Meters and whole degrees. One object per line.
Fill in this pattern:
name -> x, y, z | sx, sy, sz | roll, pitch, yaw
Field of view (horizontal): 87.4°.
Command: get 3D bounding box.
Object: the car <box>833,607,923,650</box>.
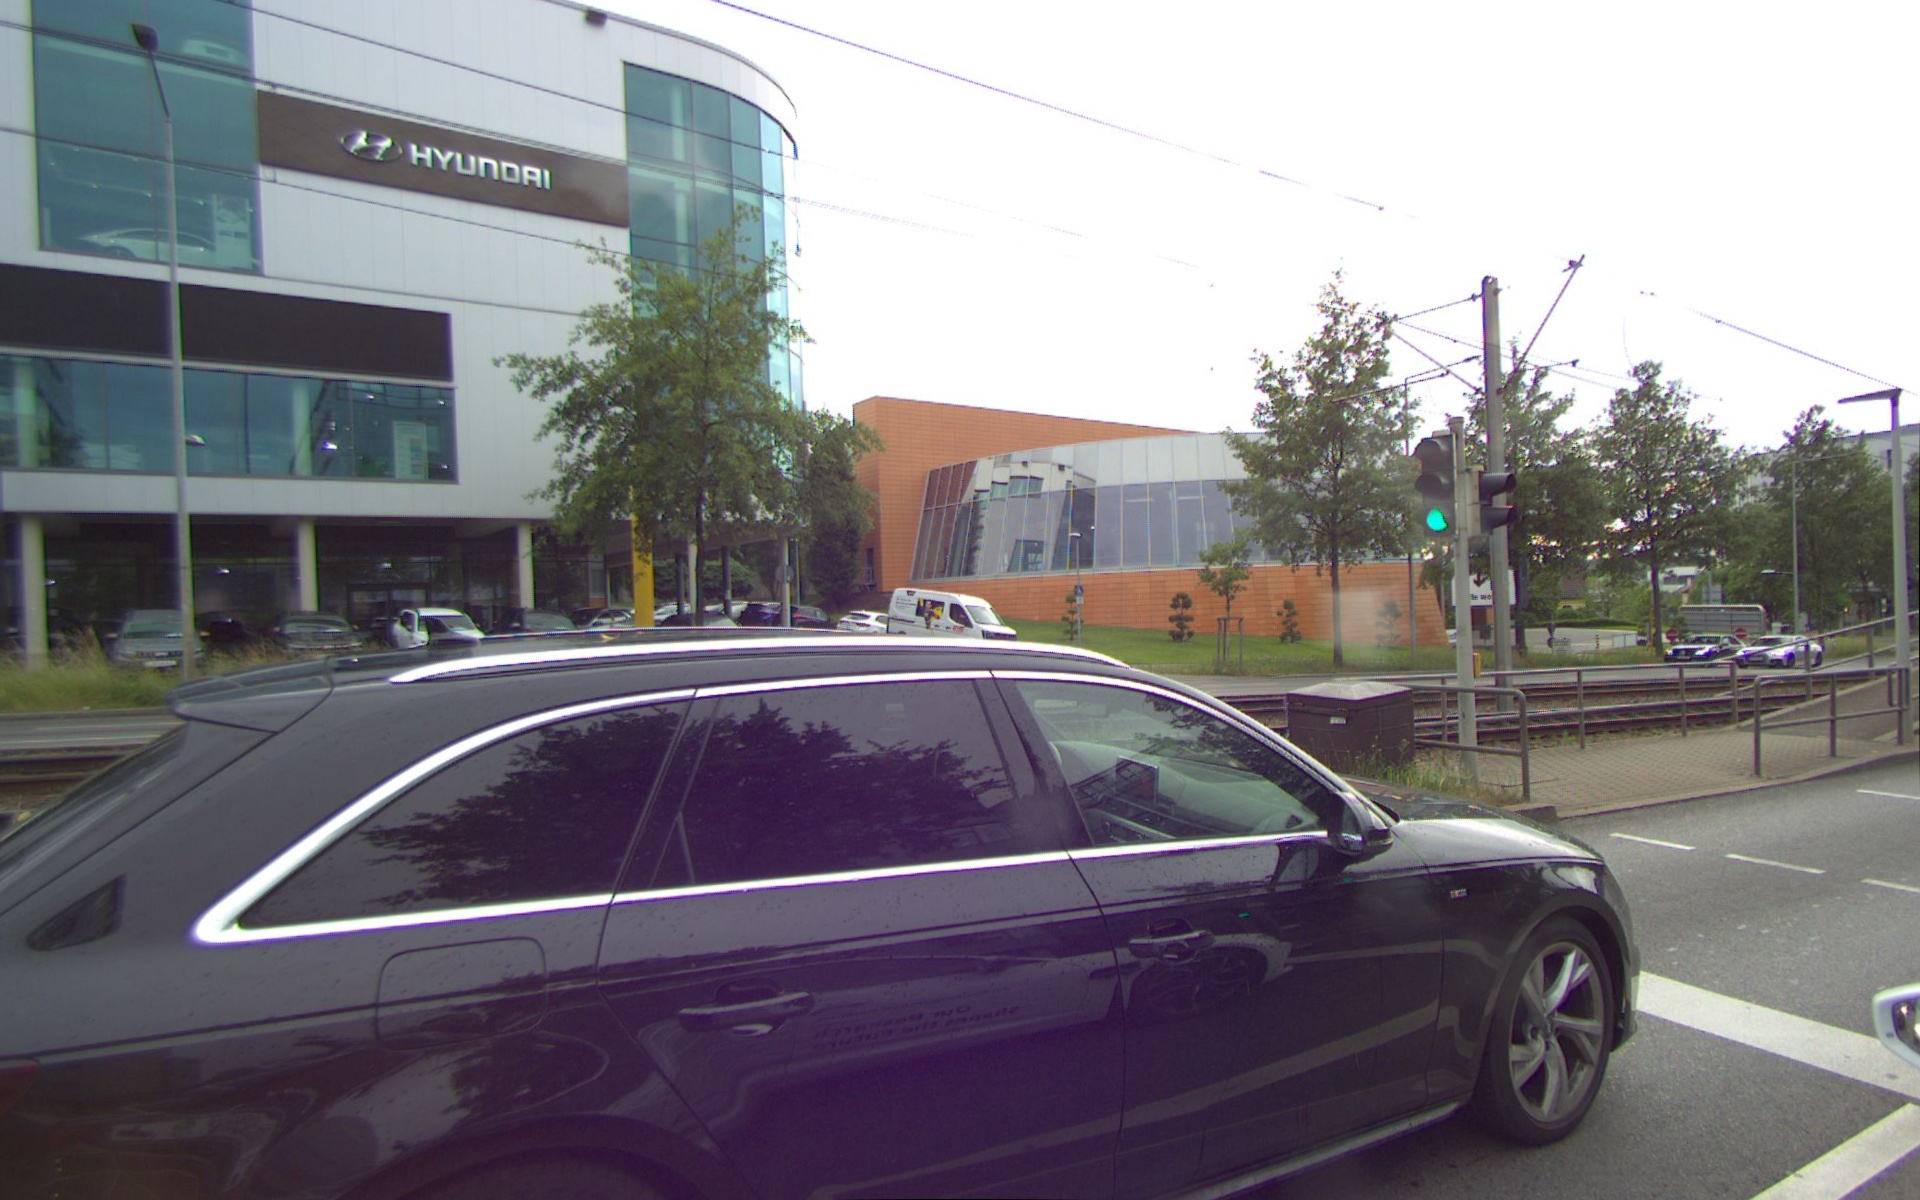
car -> -3.390, 1.170, 42.130 | 1.703, 1.688, 3.734 | 1, -1, 38

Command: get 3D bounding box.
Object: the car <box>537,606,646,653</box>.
car -> -12.883, 1.013, 35.312 | 1.691, 1.572, 3.587 | 0, -1, 20

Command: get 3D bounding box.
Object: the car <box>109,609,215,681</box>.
car -> -19.919, 1.053, 25.038 | 1.917, 1.479, 3.974 | 1, 1, -40

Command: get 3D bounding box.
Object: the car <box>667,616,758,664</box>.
car -> -7.854, 1.217, 31.698 | 1.565, 1.409, 3.619 | 0, -1, -36

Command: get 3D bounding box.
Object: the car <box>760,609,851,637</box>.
car -> -7.267, 1.071, 47.485 | 1.969, 1.297, 3.982 | 0, -1, 39

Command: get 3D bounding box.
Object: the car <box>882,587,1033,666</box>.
car -> -0.170, 0.923, 38.080 | 5.544, 2.616, 2.392 | 3, 1, 43

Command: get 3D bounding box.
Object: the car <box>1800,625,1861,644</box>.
car -> 66.682, 2.631, 77.007 | 1.408, 1.405, 3.371 | 0, 0, -13

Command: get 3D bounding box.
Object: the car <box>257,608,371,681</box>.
car -> -17.009, 1.102, 26.363 | 1.984, 1.571, 4.324 | 1, 1, -40

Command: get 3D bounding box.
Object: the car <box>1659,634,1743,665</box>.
car -> 33.164, 2.176, 44.937 | 3.922, 1.253, 1.642 | 1, 0, -30

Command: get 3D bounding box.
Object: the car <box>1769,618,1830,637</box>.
car -> 63.142, 2.052, 75.636 | 1.408, 1.405, 3.371 | 0, 0, -13

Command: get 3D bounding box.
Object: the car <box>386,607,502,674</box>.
car -> -14.551, 1.072, 28.219 | 1.984, 1.571, 4.324 | 1, 1, -40

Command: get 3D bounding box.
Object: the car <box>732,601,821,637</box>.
car -> -8.917, 0.916, 49.050 | 1.969, 1.653, 3.982 | 0, -1, 39

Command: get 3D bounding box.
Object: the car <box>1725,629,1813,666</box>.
car -> 33.816, 1.975, 41.963 | 3.836, 1.455, 1.642 | 1, -3, -32

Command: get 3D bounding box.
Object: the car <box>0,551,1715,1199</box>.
car -> 0.055, 0.721, 2.841 | 4.461, 1.486, 1.772 | 1, -1, -31

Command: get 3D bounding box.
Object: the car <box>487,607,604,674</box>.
car -> -12.374, 1.137, 29.833 | 1.984, 1.637, 4.324 | 1, 1, -40
